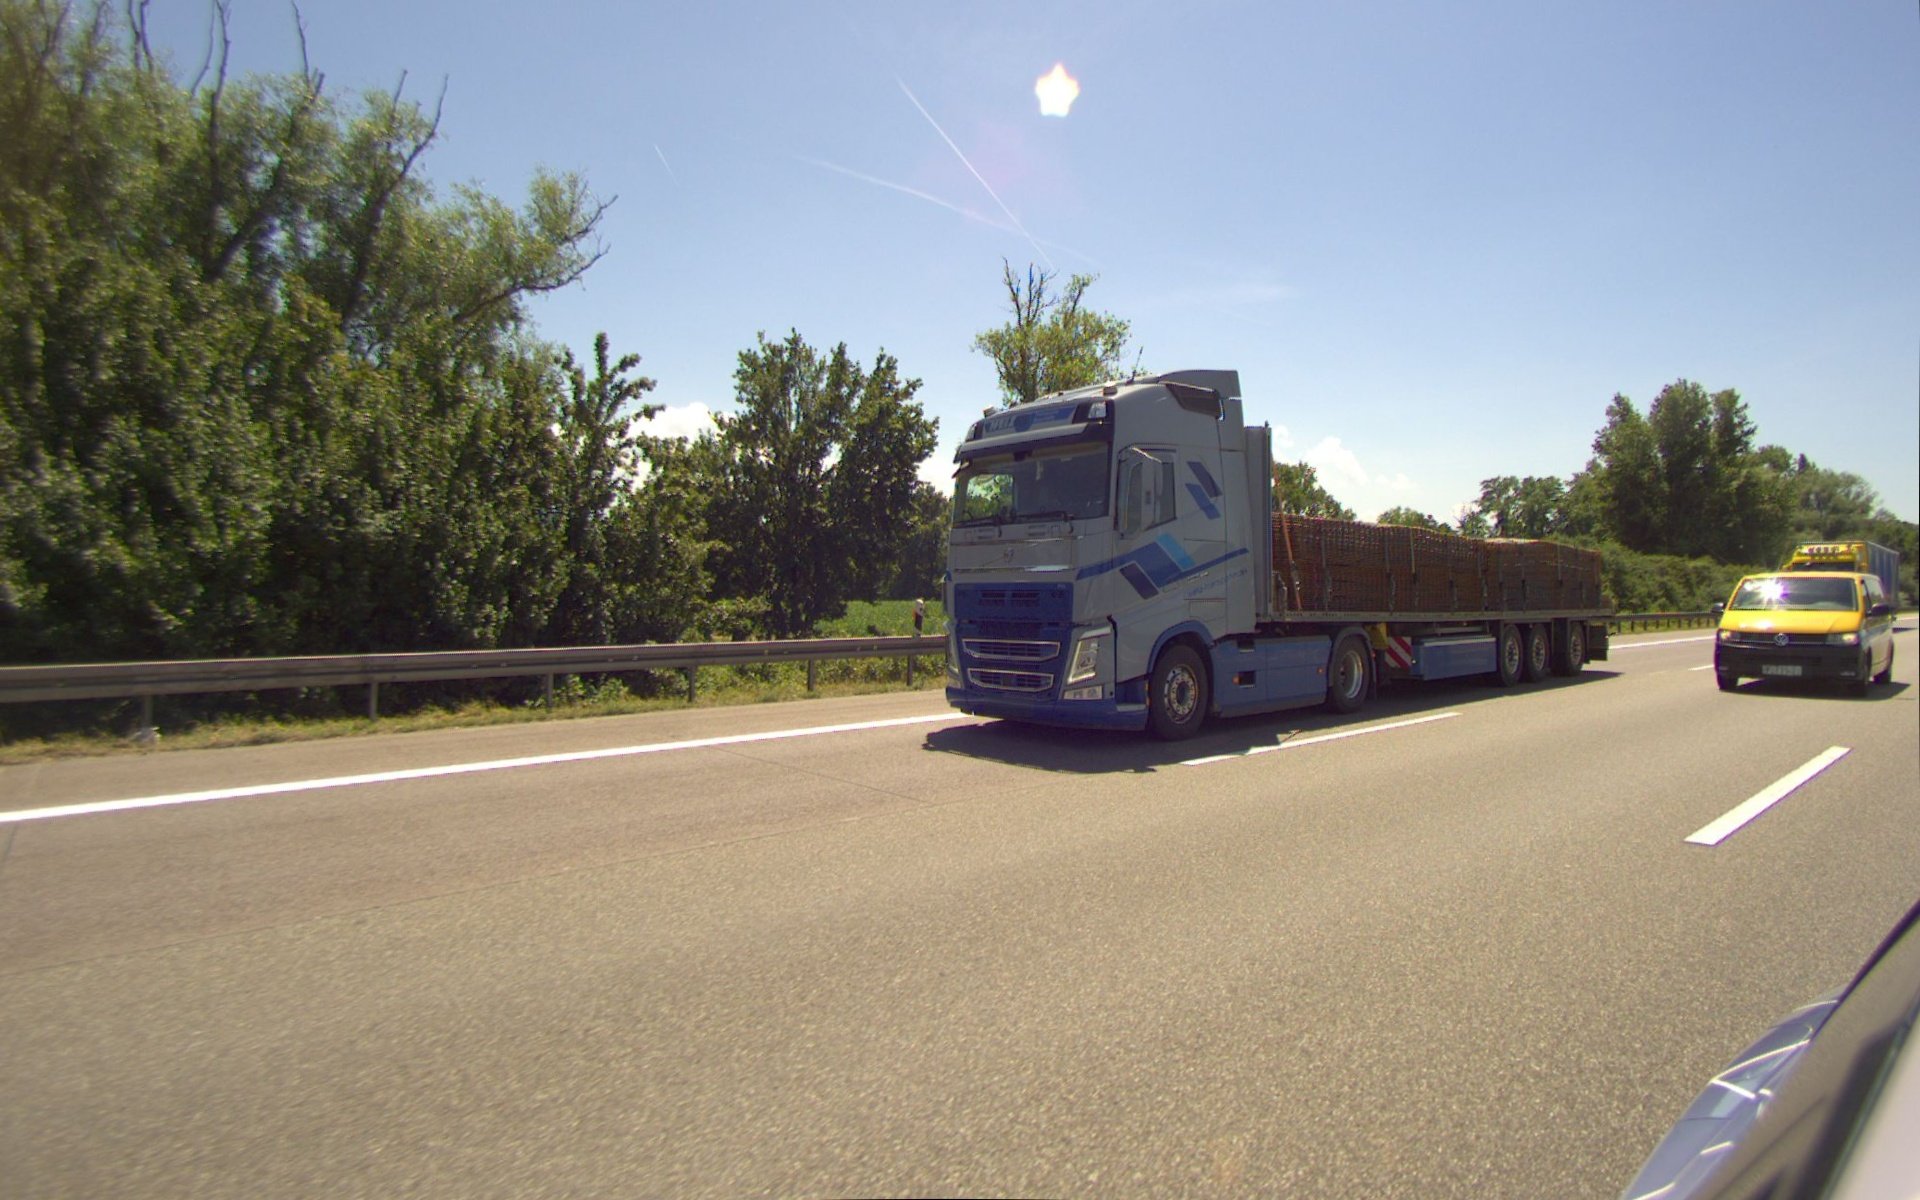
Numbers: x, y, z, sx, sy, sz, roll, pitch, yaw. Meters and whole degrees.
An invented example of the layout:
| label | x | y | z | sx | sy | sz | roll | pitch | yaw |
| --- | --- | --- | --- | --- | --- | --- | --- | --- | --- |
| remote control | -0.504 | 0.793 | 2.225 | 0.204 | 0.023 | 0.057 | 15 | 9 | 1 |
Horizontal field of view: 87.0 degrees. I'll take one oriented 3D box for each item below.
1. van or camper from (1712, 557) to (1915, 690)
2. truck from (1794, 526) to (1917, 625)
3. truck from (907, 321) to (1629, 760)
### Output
| label | x | y | z | sx | sy | sz | roll | pitch | yaw |
| --- | --- | --- | --- | --- | --- | --- | --- | --- | --- |
| van or camper | 14.470 | 0.330 | 17.048 | 4.886 | 1.933 | 1.996 | 0 | 0 | -42 |
| truck | 45.026 | -1.200 | 50.561 | 16.506 | 4.310 | 2.849 | -1 | 2 | -43 |
| truck | 6.409 | -0.651 | 15.885 | 16.331 | 4.007 | 2.973 | -1 | 1 | -43 |
